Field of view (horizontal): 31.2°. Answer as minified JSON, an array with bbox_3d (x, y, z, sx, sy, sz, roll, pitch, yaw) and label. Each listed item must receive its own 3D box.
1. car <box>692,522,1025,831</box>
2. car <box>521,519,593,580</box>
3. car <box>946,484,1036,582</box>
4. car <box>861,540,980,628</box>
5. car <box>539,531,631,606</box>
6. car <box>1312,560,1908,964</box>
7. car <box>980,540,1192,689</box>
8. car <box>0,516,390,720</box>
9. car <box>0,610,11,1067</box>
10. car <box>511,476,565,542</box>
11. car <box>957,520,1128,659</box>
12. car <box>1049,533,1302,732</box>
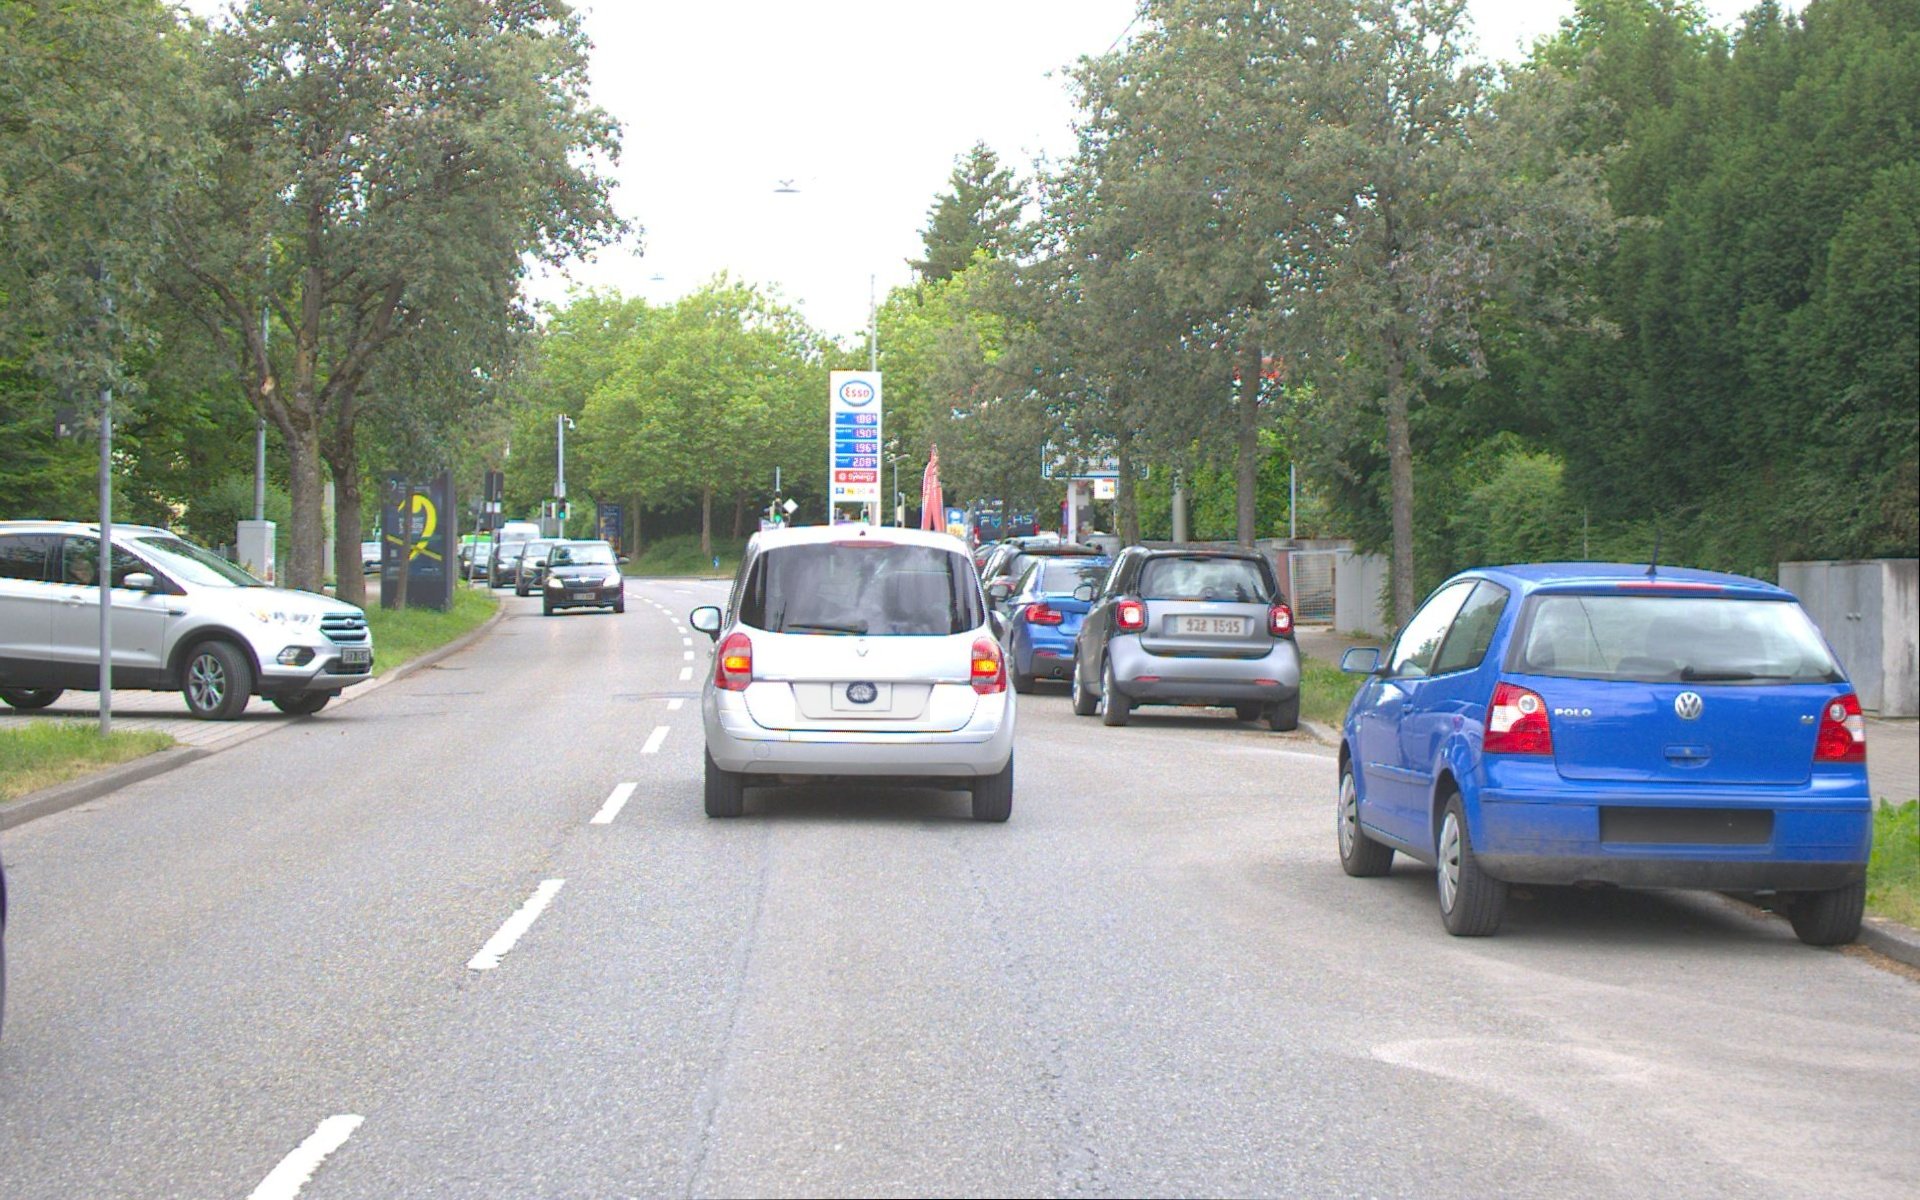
[{"bbox_3d":[-0.574,0.360,19.377,1.679,1.554,3.512,1,1,-2],"label":"car"},{"bbox_3d":[-10.880,-1.386,92.981,1.793,1.550,3.673,-2,1,-6],"label":"car"},{"bbox_3d":[0.941,-2.090,106.841,2.281,2.901,5.280,2,1,-4],"label":"car"},{"bbox_3d":[-0.747,-0.307,61.435,1.695,1.501,3.973,0,1,-7],"label":"car"},{"bbox_3d":[-7.661,-0.642,70.034,1.544,1.465,3.743,-1,1,-11],"label":"car"},{"bbox_3d":[2.618,0.583,14.718,1.626,1.447,3.876,1,1,-3],"label":"car"},{"bbox_3d":[1.243,0.107,35.644,1.696,1.428,4.341,0,1,-4],"label":"car"},{"bbox_3d":[-7.280,0.122,30.293,4.089,1.700,1.746,1,1,14],"label":"car"},{"bbox_3d":[-3.481,0.655,8.208,1.574,1.467,3.471,-1,1,-3],"label":"car"},{"bbox_3d":[-15.792,-3.403,128.798,1.934,2.400,4.001,0,1,-6],"label":"car"},{"bbox_3d":[0.929,-0.158,40.821,1.695,1.565,3.956,0,1,-3],"label":"car"},{"bbox_3d":[1.830,0.229,30.343,1.695,1.552,3.956,3,1,-3],"label":"car"}]
